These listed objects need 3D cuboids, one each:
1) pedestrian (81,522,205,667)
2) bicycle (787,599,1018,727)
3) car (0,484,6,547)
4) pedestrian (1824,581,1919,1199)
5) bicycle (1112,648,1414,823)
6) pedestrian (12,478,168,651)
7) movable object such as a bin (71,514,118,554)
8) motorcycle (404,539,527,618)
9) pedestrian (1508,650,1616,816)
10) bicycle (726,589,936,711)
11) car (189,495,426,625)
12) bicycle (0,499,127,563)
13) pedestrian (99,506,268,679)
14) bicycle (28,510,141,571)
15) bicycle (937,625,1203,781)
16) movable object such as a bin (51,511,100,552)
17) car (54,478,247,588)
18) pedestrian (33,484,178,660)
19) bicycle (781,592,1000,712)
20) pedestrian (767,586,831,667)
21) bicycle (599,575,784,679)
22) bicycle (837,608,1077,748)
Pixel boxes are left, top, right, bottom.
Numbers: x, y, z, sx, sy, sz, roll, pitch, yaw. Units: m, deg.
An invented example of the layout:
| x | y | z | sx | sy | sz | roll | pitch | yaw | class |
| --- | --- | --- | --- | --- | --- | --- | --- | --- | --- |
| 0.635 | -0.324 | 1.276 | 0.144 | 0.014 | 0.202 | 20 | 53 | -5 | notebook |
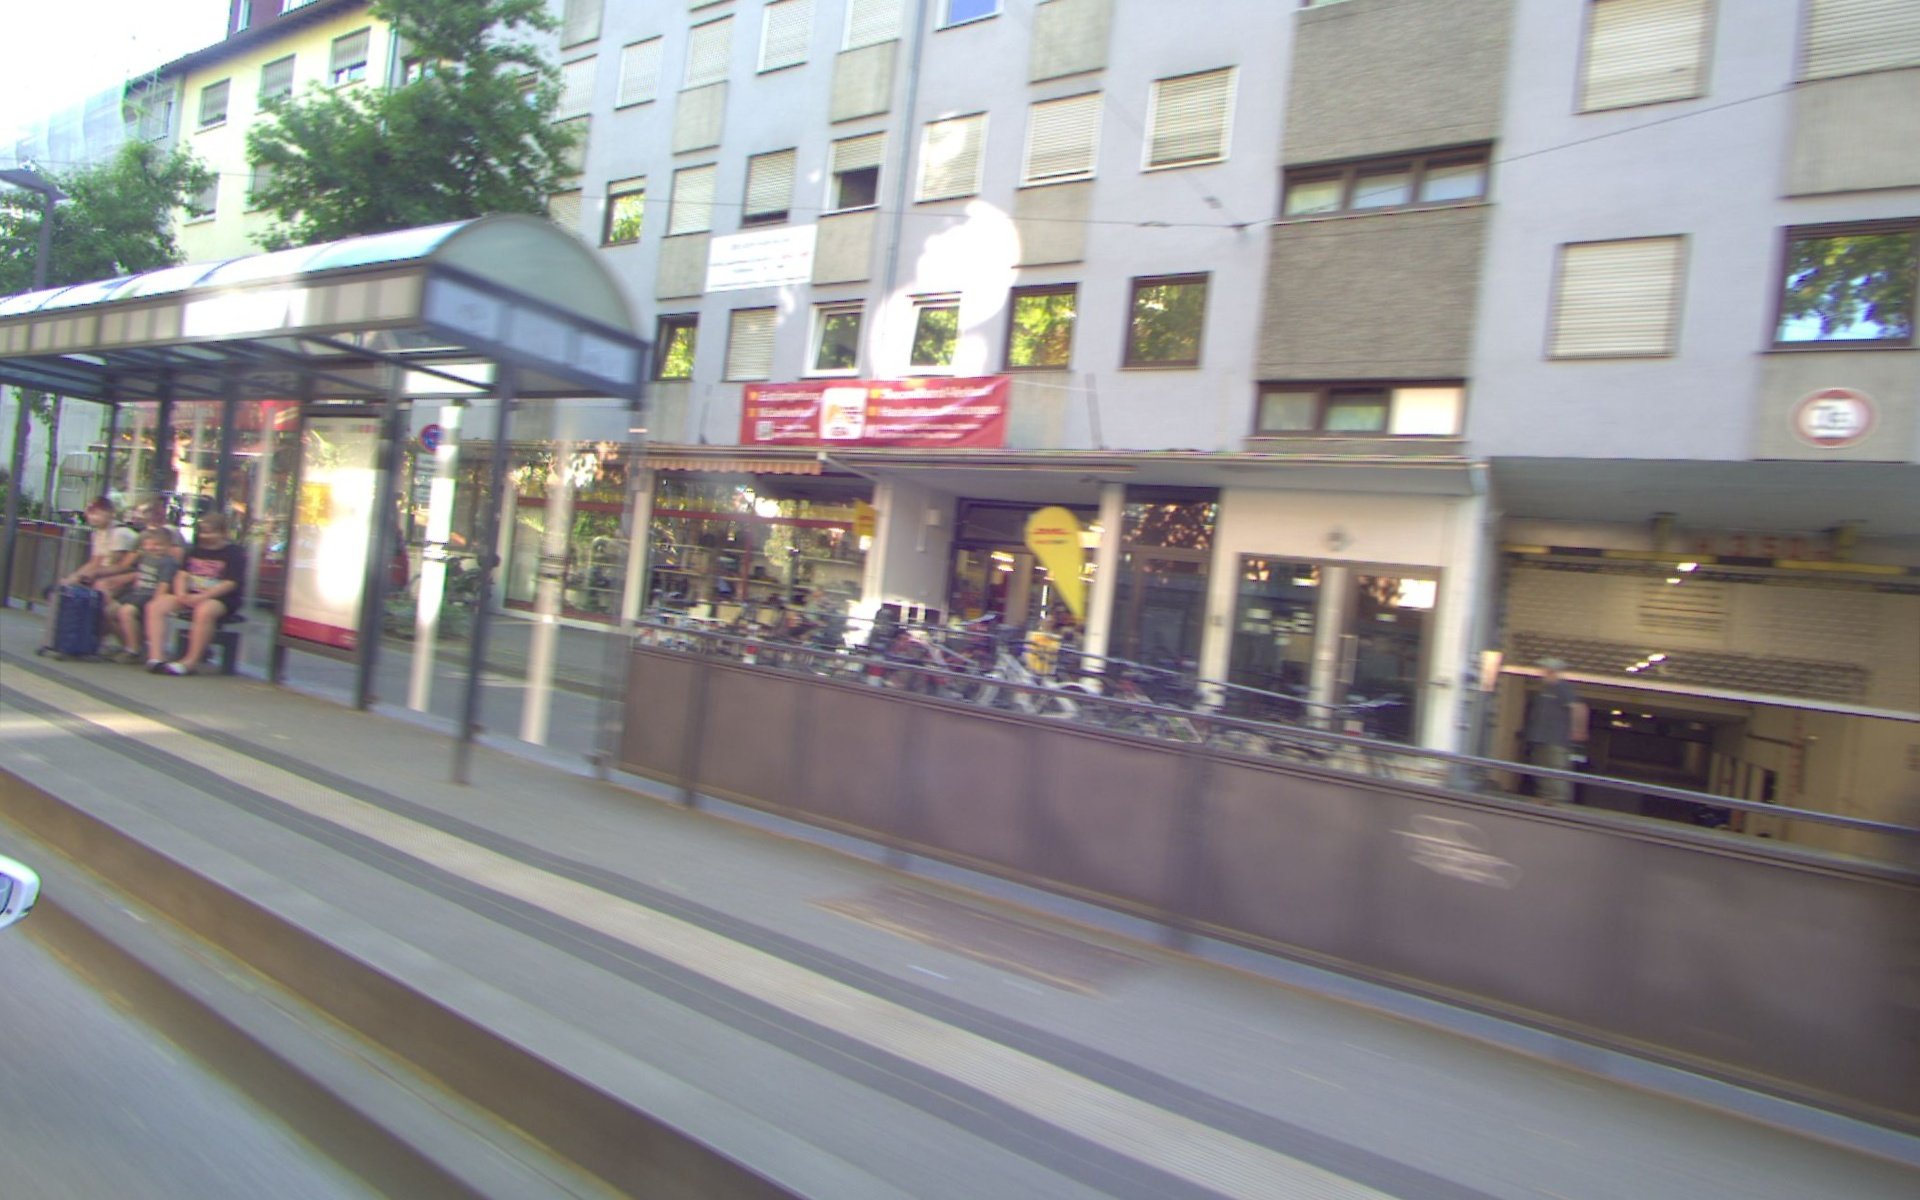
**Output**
| x | y | z | sx | sy | sz | roll | pitch | yaw | class |
| --- | --- | --- | --- | --- | --- | --- | --- | --- | --- |
| -6.488 | -0.032 | 8.001 | 0.418 | 1.068 | 0.522 | 7 | -1 | 21 | pedestrian |
| -0.731 | 0.752 | 12.732 | 2.730 | 1.197 | 0.772 | 7 | 5 | 15 | bicycle |
| -27.515 | -2.483 | 27.000 | 4.369 | 1.642 | 1.763 | 7 | 1 | 33 | car |
| 2.866 | 0.805 | 2.530 | 0.645 | 1.594 | 0.844 | 8 | -1 | -41 | pedestrian |
| 3.033 | 1.302 | 10.246 | 2.734 | 1.197 | 0.771 | 8 | 5 | 27 | bicycle |
| -7.308 | -0.278 | 8.472 | 0.484 | 1.341 | 0.722 | 7 | -1 | 21 | pedestrian |
| -26.925 | -2.053 | 31.295 | 0.685 | 1.125 | 0.882 | 7 | 1 | 29 | movable object such as a bin |
| -10.262 | -0.463 | 20.822 | 2.605 | 1.336 | 0.951 | 8 | 5 | 30 | motorcycle |
| 7.069 | 1.556 | 11.813 | 0.765 | 1.825 | 0.675 | 7 | -2 | -31 | pedestrian |
| -1.746 | 0.603 | 13.336 | 2.734 | 1.197 | 0.771 | 8 | 5 | 27 | bicycle |
| -11.571 | -0.725 | 17.787 | 4.103 | 1.775 | 1.692 | 6 | -2 | 30 | car |
| -21.050 | -1.606 | 23.499 | 1.012 | 1.225 | 2.206 | 6 | 0 | 31 | bicycle |
| -5.986 | -0.040 | 7.777 | 0.637 | 1.219 | 0.681 | 7 | -1 | 21 | pedestrian |
| -21.504 | -1.451 | 24.717 | 2.169 | 1.225 | 0.685 | 6 | 1 | 3 | bicycle |
| 1.176 | 1.070 | 11.127 | 2.734 | 1.197 | 0.771 | 8 | 5 | 27 | bicycle |
| -26.837 | -2.072 | 30.513 | 0.685 | 1.125 | 0.882 | 7 | 1 | 29 | movable object such as a bin |
| -17.146 | -1.423 | 21.262 | 4.126 | 1.921 | 1.993 | 7 | 3 | 33 | car |
| -6.927 | -0.212 | 8.171 | 0.517 | 1.320 | 0.586 | 7 | -1 | 21 | pedestrian |
| -0.936 | 0.650 | 13.443 | 2.730 | 1.197 | 0.772 | 7 | 5 | 17 | bicycle |
| -2.619 | 0.446 | 16.422 | 0.637 | 1.219 | 0.681 | 7 | -1 | 21 | pedestrian |
| -3.942 | 0.358 | 14.654 | 2.734 | 1.196 | 0.771 | 6 | 3 | 27 | bicycle |
| -0.073 | 0.870 | 12.023 | 2.734 | 1.197 | 0.771 | 8 | 5 | 27 | bicycle |
